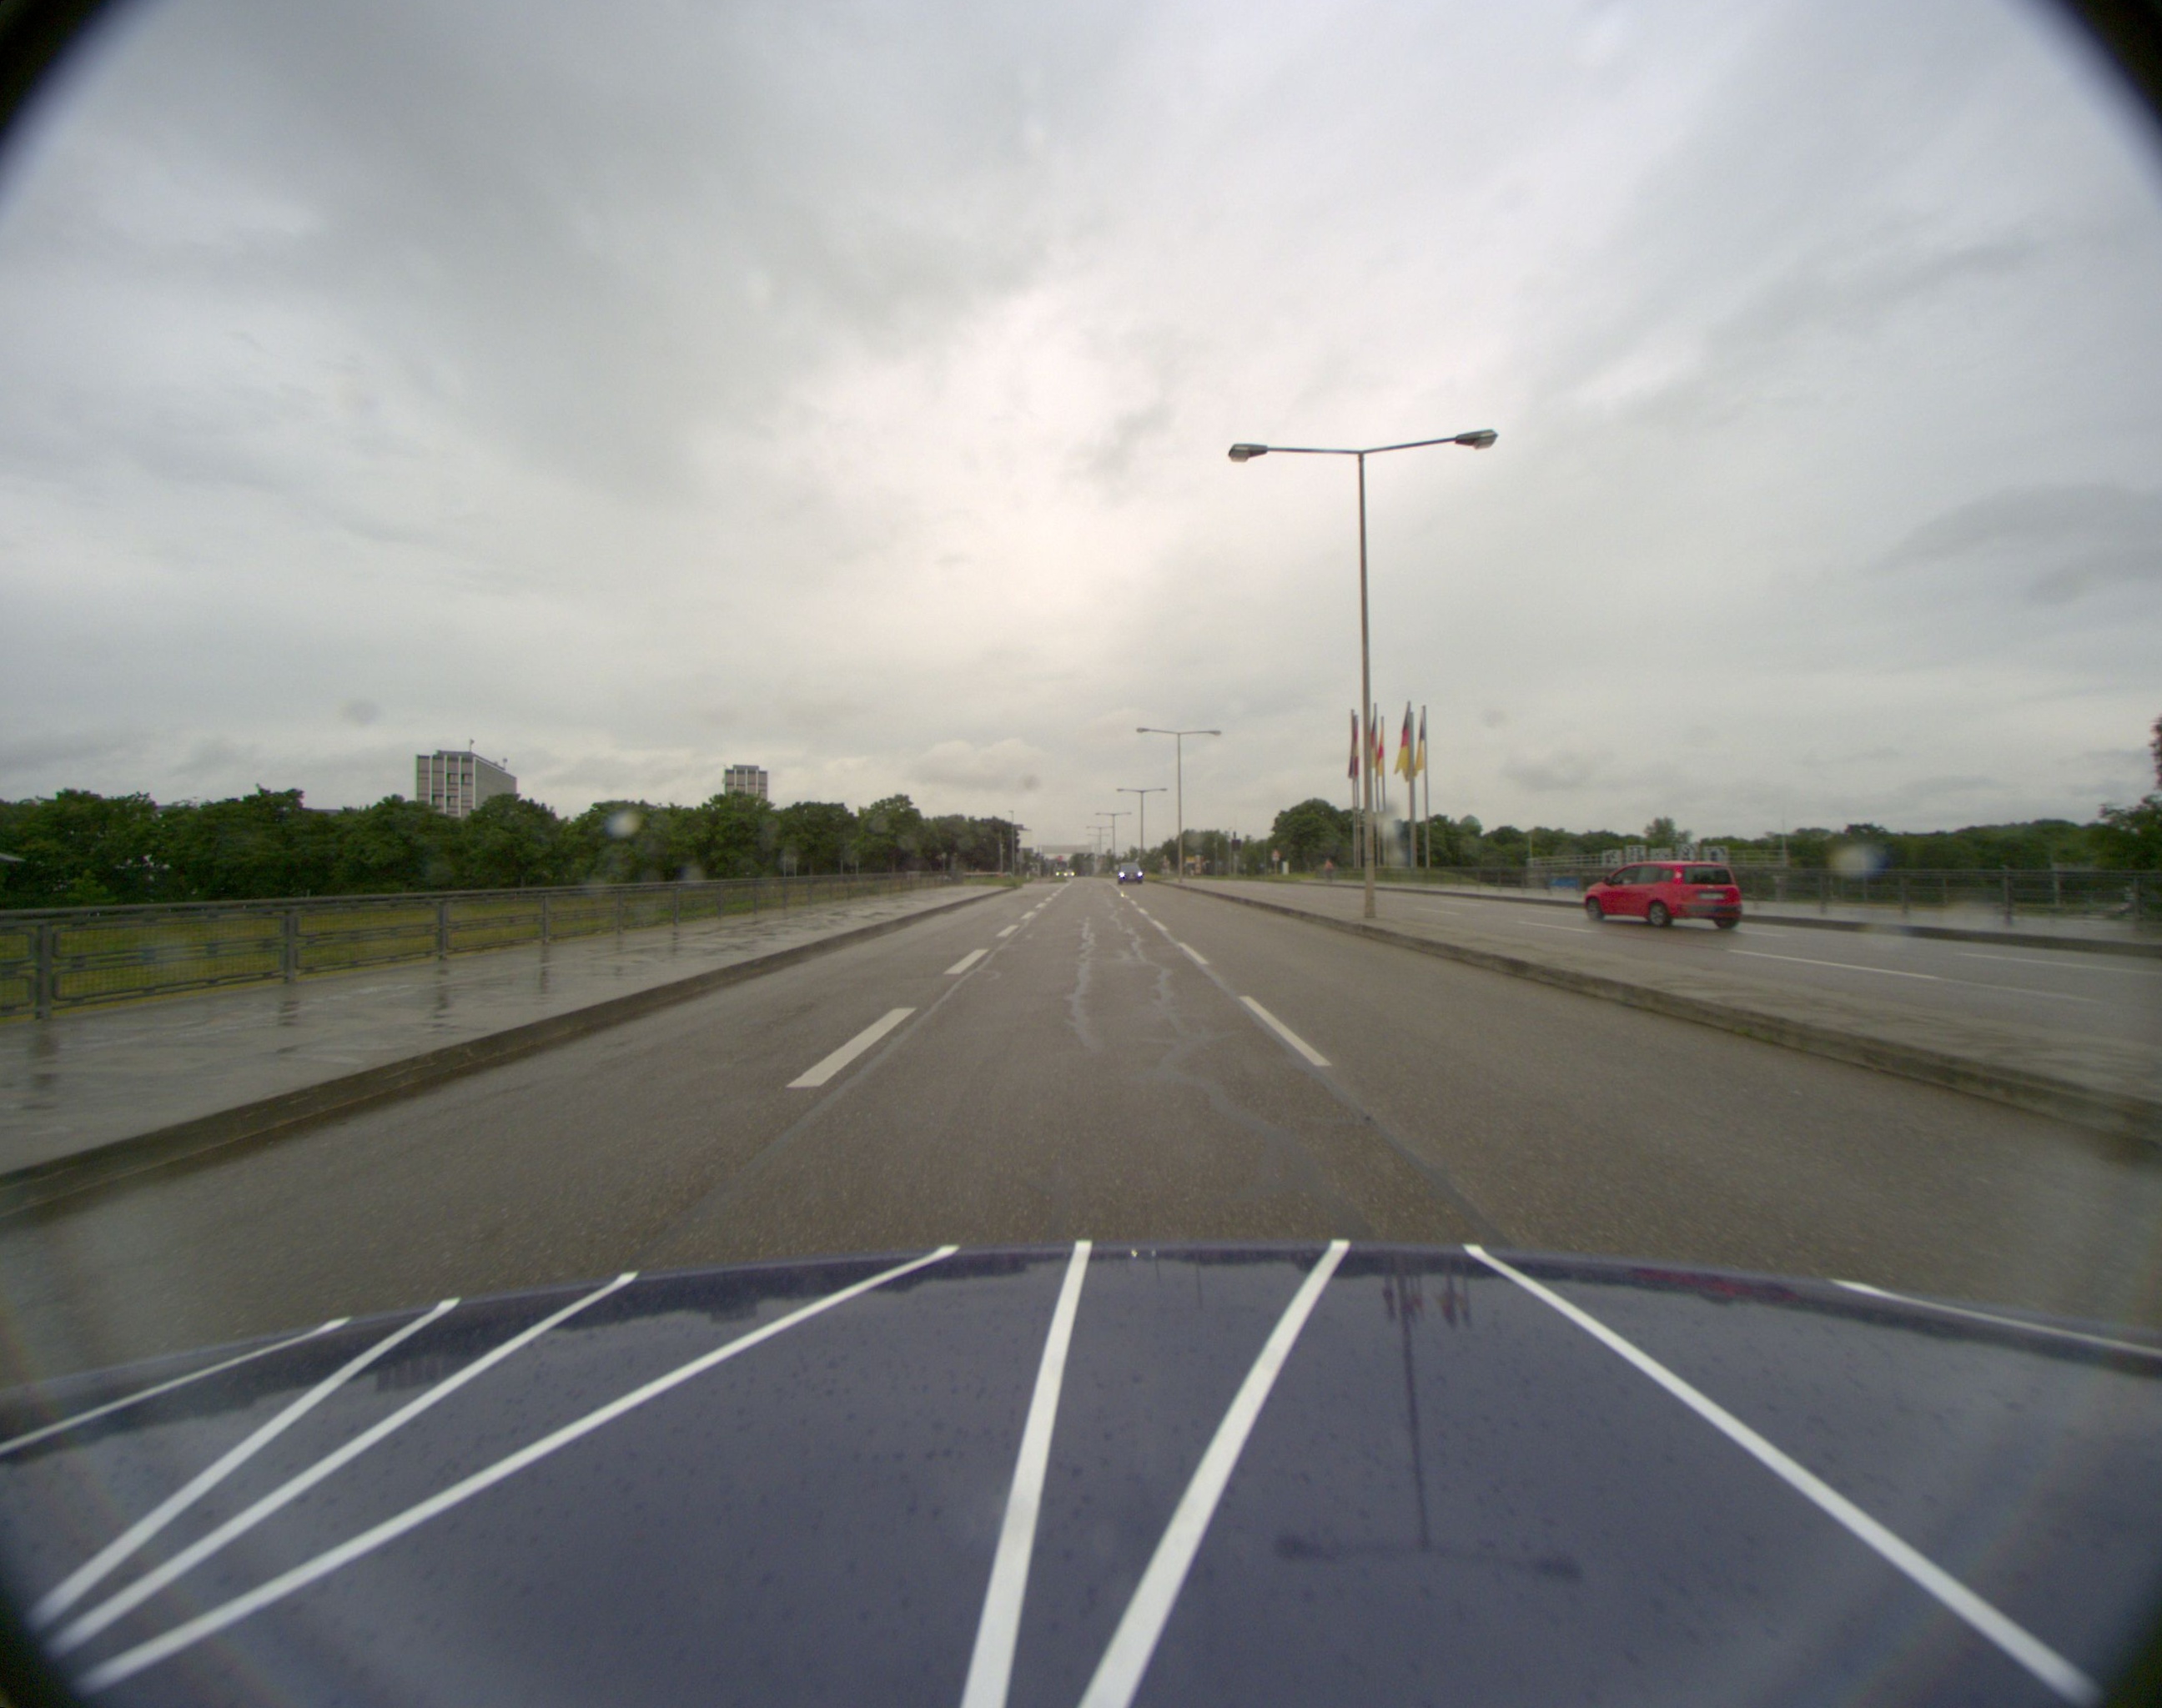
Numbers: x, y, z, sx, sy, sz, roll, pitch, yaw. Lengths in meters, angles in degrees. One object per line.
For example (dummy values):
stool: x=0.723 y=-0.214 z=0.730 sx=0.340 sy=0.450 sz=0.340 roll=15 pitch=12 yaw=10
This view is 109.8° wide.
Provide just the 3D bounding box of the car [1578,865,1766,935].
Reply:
car: x=13.798 y=1.006 z=18.018 sx=1.665 sy=1.440 sz=3.557 roll=1 pitch=0 yaw=0

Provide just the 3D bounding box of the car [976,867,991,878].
car: x=-15.549 y=2.919 z=121.079 sx=1.841 sy=1.739 sz=4.000 roll=-1 pitch=-1 yaw=-2

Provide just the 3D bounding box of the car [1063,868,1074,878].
car: x=-2.472 y=3.638 z=144.706 sx=1.999 sy=1.700 sz=4.000 roll=-1 pitch=0 yaw=-2

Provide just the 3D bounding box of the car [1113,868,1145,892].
car: x=3.825 y=2.125 z=61.343 sx=1.851 sy=1.740 sz=4.817 roll=-4 pitch=-2 yaw=-4

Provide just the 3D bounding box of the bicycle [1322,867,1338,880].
bicycle: x=20.290 y=1.571 z=62.014 sx=0.611 sy=1.027 sz=2.001 roll=-3 pitch=0 yaw=0

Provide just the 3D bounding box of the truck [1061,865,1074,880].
truck: x=-3.053 y=4.182 z=171.428 sx=2.860 sy=3.196 sz=8.097 roll=-1 pitch=0 yaw=-2

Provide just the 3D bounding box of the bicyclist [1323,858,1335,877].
bicyclist: x=20.263 y=1.087 z=62.014 sx=0.621 sy=1.491 sz=1.003 roll=-3 pitch=0 yaw=0
